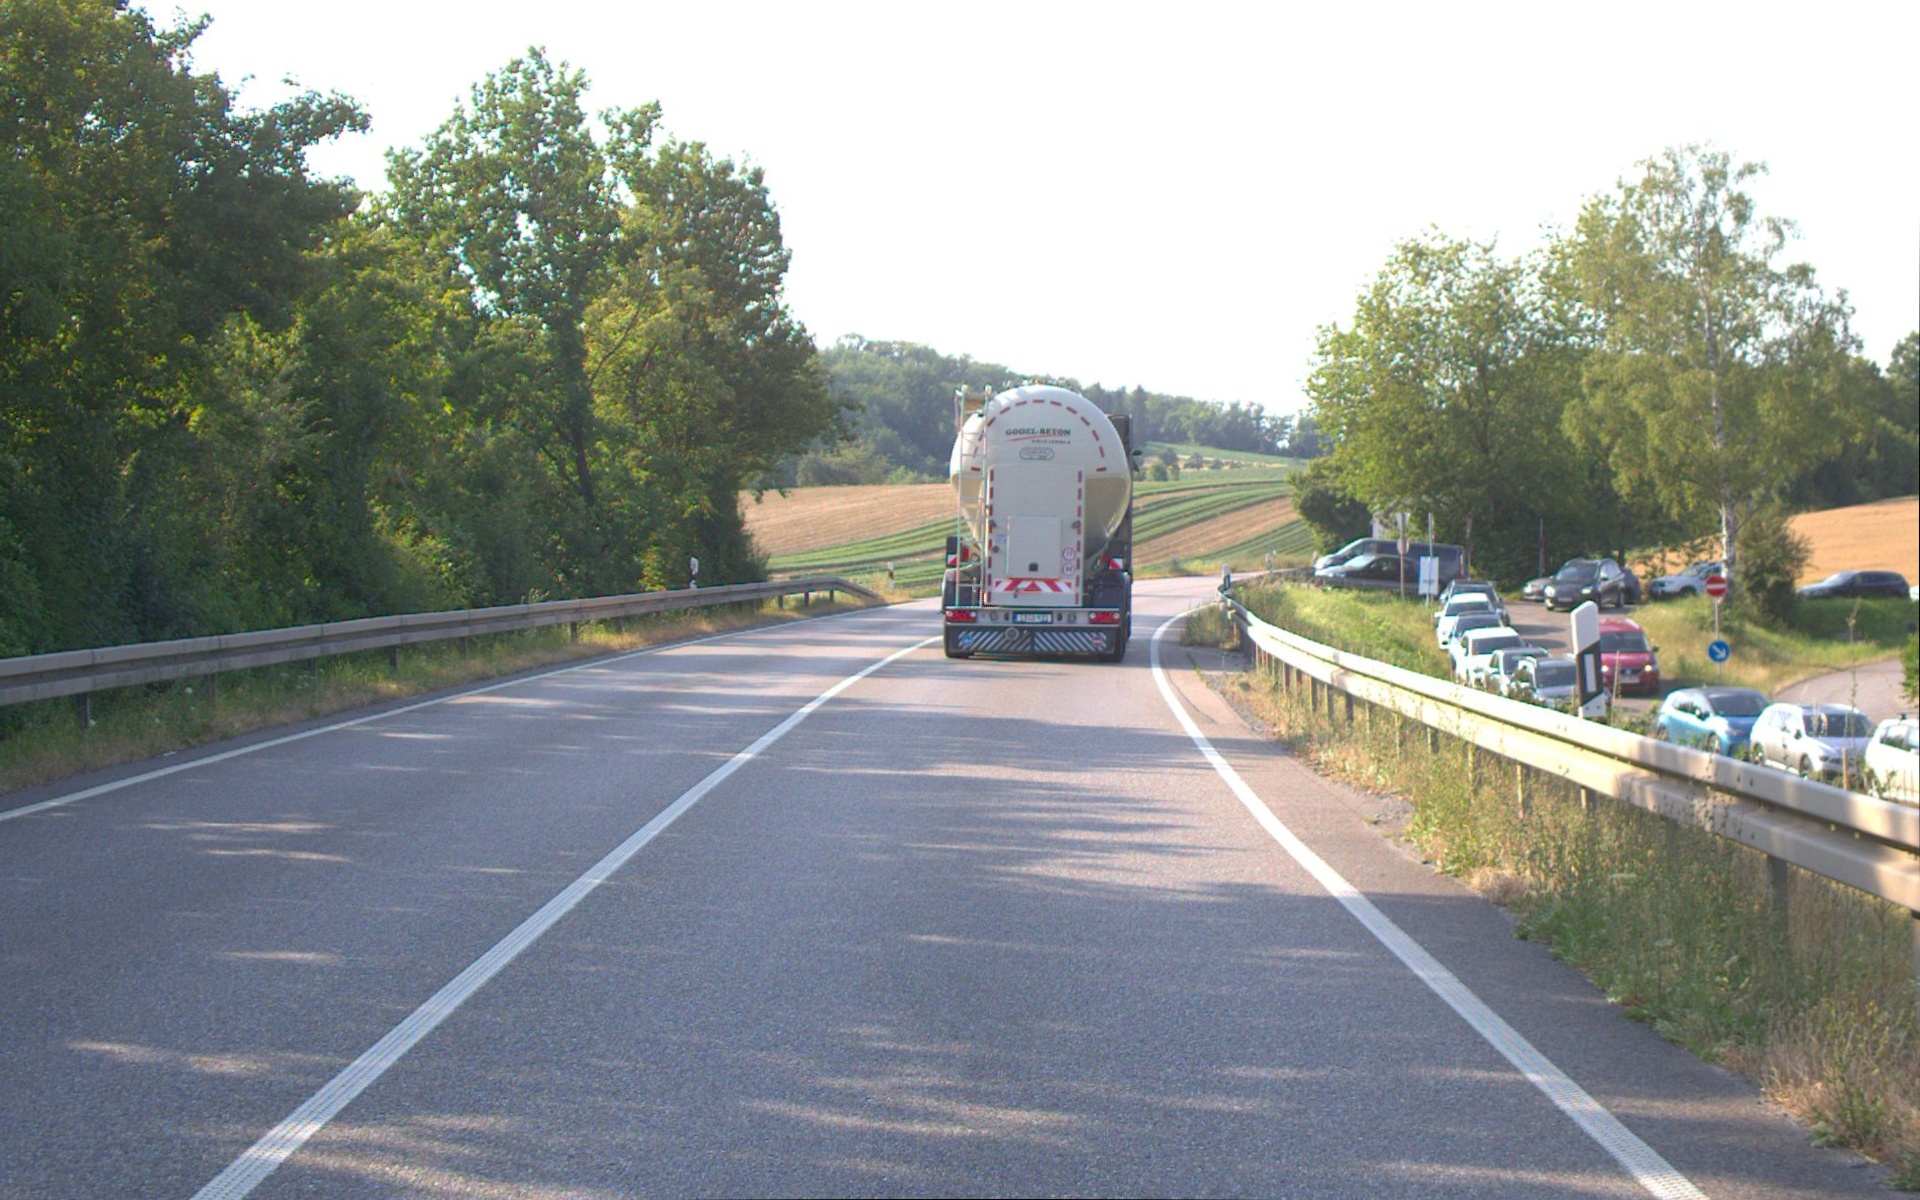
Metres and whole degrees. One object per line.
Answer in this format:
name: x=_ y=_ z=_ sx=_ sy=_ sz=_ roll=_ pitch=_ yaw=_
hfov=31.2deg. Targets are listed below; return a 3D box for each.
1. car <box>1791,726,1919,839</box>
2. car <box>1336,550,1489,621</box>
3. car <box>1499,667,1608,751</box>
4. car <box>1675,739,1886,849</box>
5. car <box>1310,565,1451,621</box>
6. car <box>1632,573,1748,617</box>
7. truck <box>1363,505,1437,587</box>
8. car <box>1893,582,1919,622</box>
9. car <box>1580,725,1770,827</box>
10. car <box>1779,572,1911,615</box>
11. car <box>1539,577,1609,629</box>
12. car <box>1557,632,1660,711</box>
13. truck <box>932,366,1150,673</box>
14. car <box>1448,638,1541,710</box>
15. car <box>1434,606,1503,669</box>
car: x=16.453 y=3.149 z=59.939 sx=1.891 sy=1.554 sz=4.784 roll=0 pitch=2 yaw=-13
car: x=15.946 y=-0.526 z=121.312 sx=5.141 sy=1.937 sz=1.974 roll=6 pitch=2 yaw=7
car: x=13.985 y=2.549 z=81.258 sx=1.892 sy=1.554 sz=4.783 roll=-3 pitch=2 yaw=3
car: x=15.384 y=3.614 z=64.732 sx=1.891 sy=1.554 sz=4.784 roll=-3 pitch=2 yaw=-12
car: x=14.067 y=-0.245 z=114.974 sx=4.309 sy=1.504 sz=1.721 roll=4 pitch=1 yaw=-23
car: x=26.864 y=-0.198 z=126.574 sx=3.717 sy=1.436 sz=1.812 roll=2 pitch=1 yaw=-17
truck: x=23.736 y=-2.963 z=184.874 sx=3.185 sy=4.213 sz=13.167 roll=0 pitch=1 yaw=11
car: x=38.373 y=0.121 z=132.182 sx=4.627 sy=1.502 sz=2.000 roll=1 pitch=1 yaw=-27
car: x=14.392 y=3.522 z=69.472 sx=1.891 sy=1.554 sz=4.784 roll=-3 pitch=2 yaw=-12
car: x=33.417 y=-0.244 z=129.765 sx=4.627 sy=1.502 sz=2.000 roll=1 pitch=1 yaw=-27
car: x=20.585 y=0.112 z=115.357 sx=1.892 sy=1.669 sz=4.781 roll=1 pitch=0 yaw=5
car: x=17.111 y=1.874 z=90.953 sx=1.892 sy=1.681 sz=5.086 roll=-3 pitch=2 yaw=3
truck: x=1.051 y=-1.211 z=53.461 sx=2.892 sy=4.128 sz=13.173 roll=1 pitch=1 yaw=-1
car: x=14.295 y=1.959 z=92.199 sx=1.892 sy=1.554 sz=4.783 roll=-3 pitch=2 yaw=3
car: x=15.320 y=1.109 z=103.495 sx=1.892 sy=1.554 sz=4.781 roll=-2 pitch=2 yaw=10
